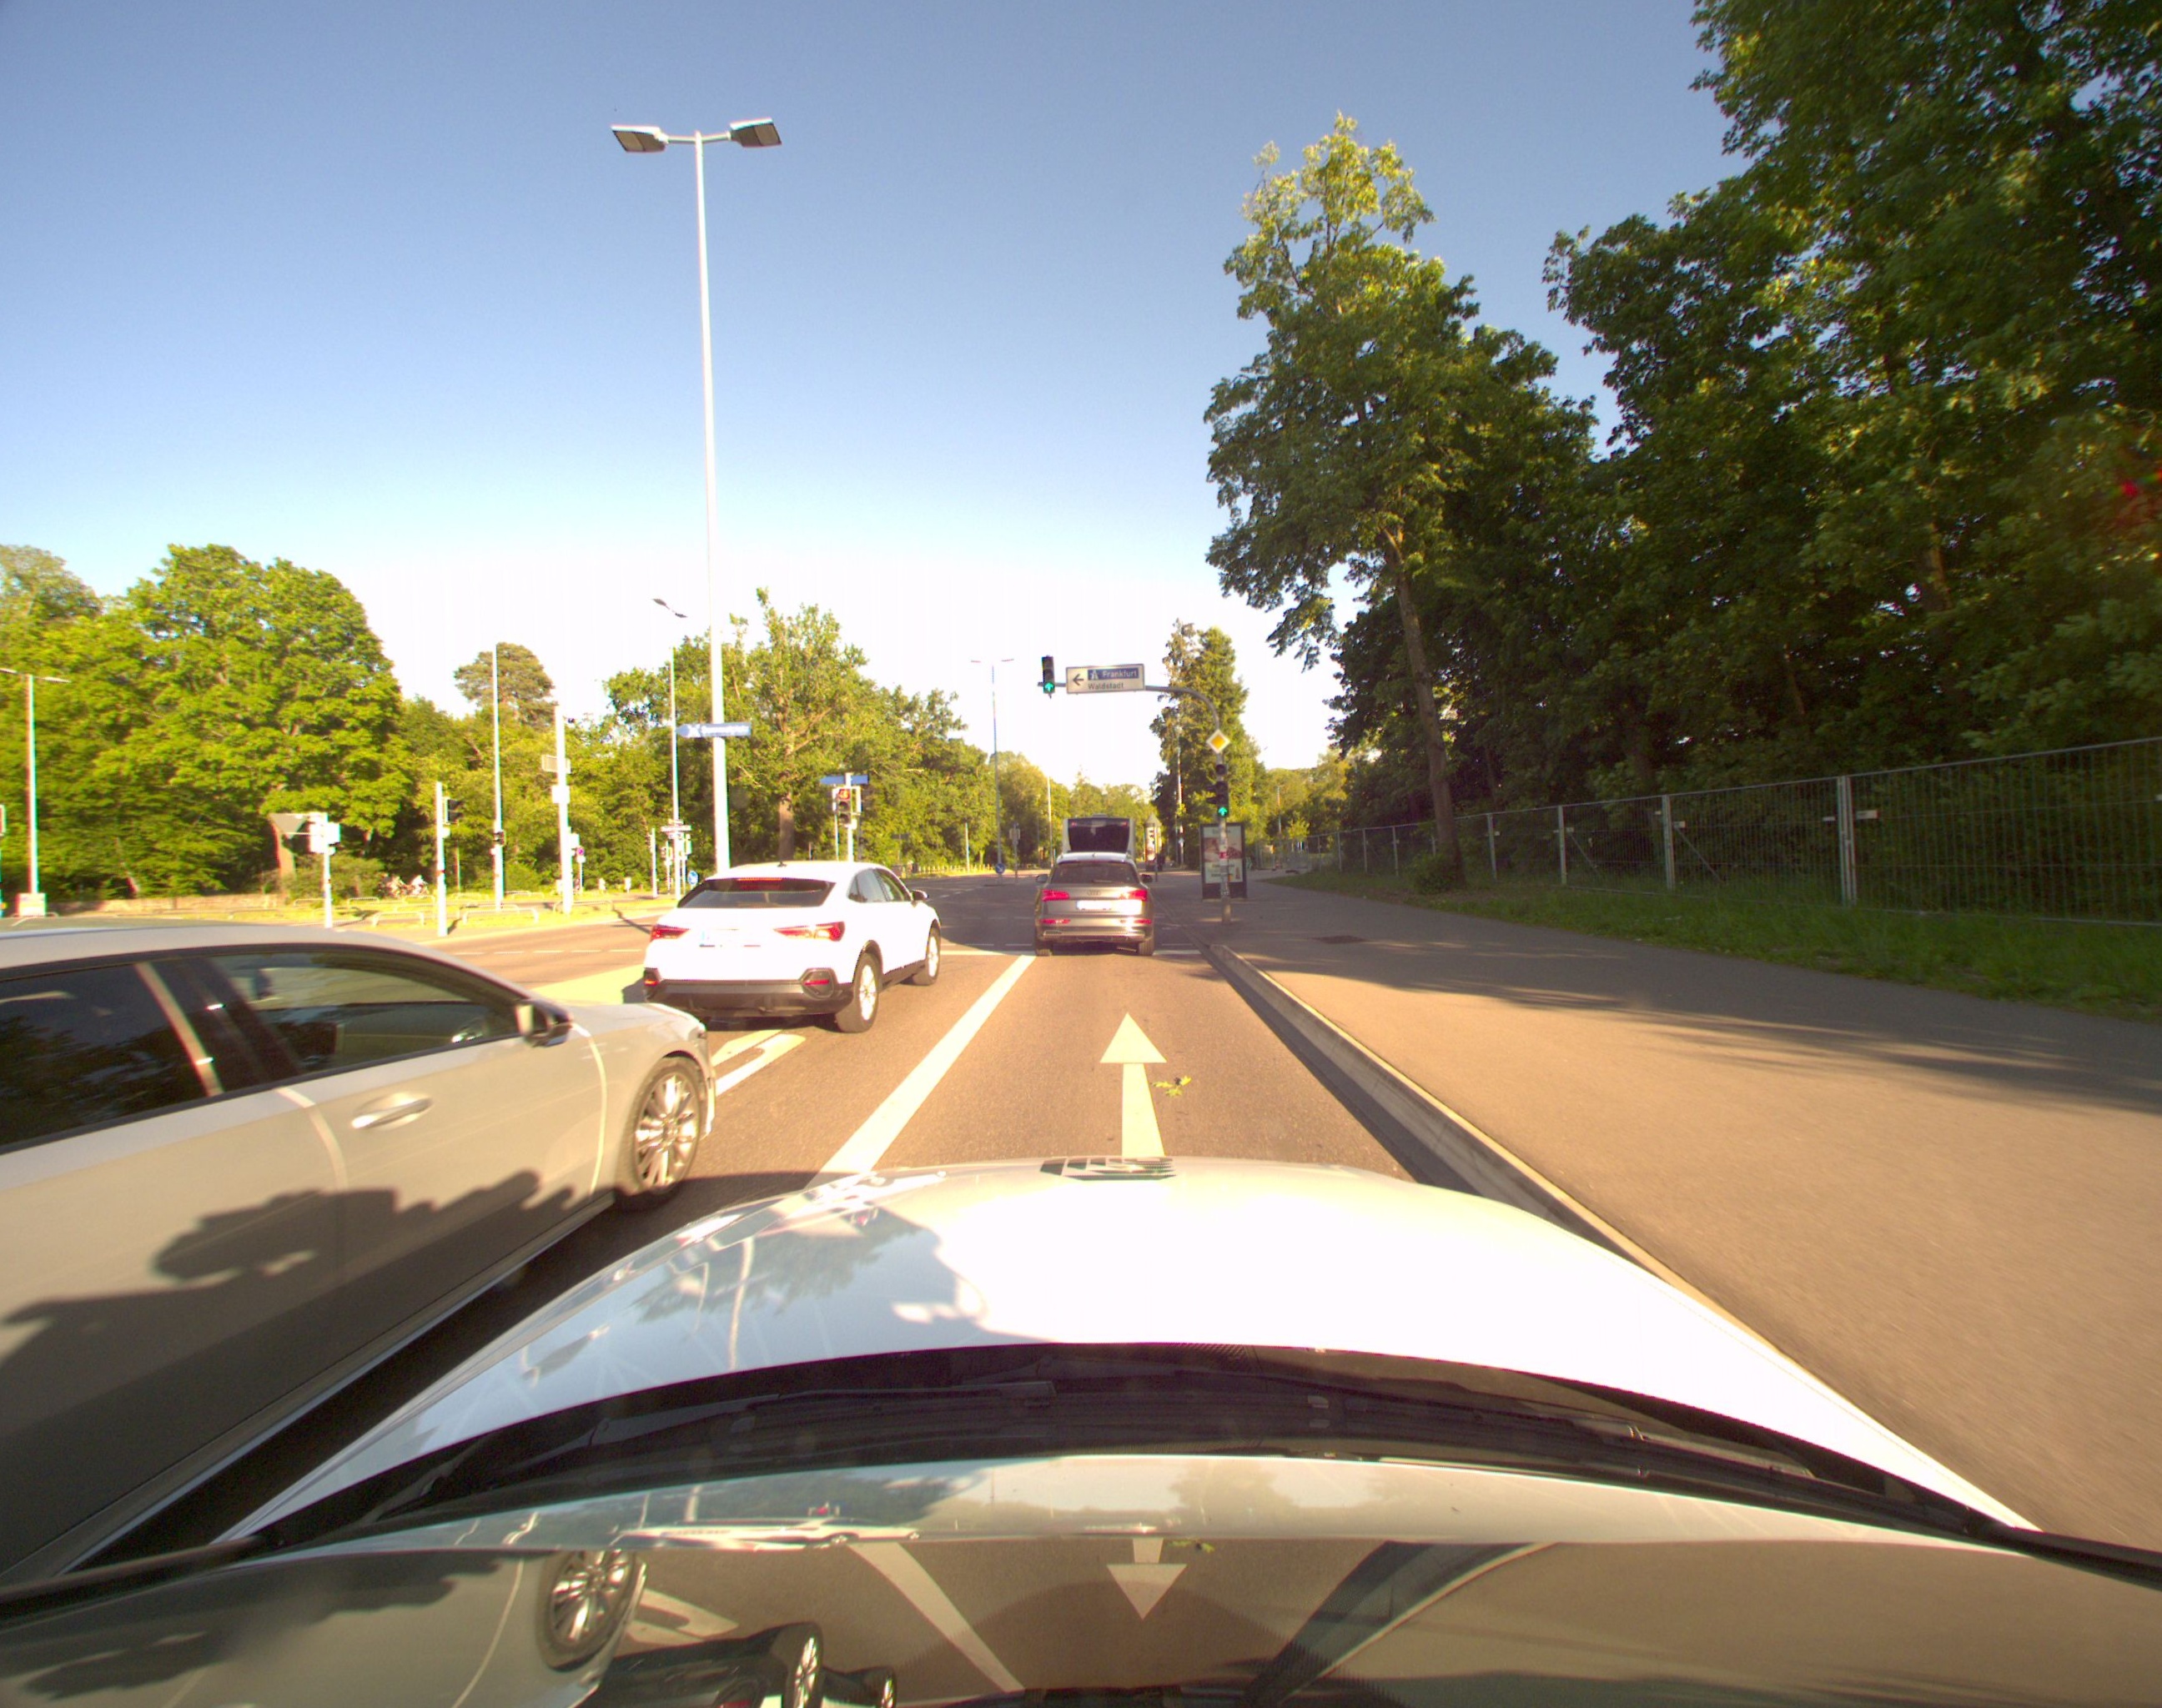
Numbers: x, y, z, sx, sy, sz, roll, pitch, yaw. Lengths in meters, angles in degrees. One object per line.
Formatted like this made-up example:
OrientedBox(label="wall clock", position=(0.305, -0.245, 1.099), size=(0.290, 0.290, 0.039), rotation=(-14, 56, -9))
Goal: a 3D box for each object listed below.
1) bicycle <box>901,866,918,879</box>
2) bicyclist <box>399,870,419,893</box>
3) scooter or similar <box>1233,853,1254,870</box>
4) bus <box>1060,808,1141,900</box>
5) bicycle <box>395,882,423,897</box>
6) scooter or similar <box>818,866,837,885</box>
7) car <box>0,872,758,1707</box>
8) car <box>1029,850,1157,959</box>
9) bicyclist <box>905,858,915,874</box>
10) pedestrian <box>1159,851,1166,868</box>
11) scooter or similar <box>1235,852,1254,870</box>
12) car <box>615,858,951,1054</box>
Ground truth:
OrientedBox(label="bicycle", position=(-17.242, 1.858, 81.739), size=(0.674, 1.154, 1.995), rotation=(-1, 1, 20))
OrientedBox(label="bicyclist", position=(-44.368, 1.831, 53.761), size=(0.790, 1.483, 0.734), rotation=(-1, -1, 23))
OrientedBox(label="scooter or similar", position=(12.376, 0.581, 62.043), size=(1.424, 1.167, 0.396), rotation=(-4, -2, 31))
OrientedBox(label="bus", position=(0.846, 0.042, 33.255), size=(2.679, 3.042, 12.045), rotation=(0, 0, 2))
OrientedBox(label="bicycle", position=(-44.310, 2.333, 53.734), size=(1.571, 0.977, 0.789), rotation=(-1, -1, 23))
OrientedBox(label="scooter or similar", position=(-15.884, 1.320, 51.018), size=(1.060, 1.146, 0.395), rotation=(-2, 0, 9))
OrientedBox(label="car", position=(-2.689, 0.824, 2.356), size=(1.651, 1.427, 4.320), rotation=(-1, 0, 2))
OrientedBox(label="car", position=(0.241, 0.753, 14.299), size=(1.886, 1.605, 4.546), rotation=(0, 0, 2))
OrientedBox(label="bicyclist", position=(-17.212, 1.164, 81.857), size=(0.557, 1.551, 0.804), rotation=(-1, 2, 20))
OrientedBox(label="pedestrian", position=(8.016, 0.557, 80.230), size=(0.622, 1.688, 0.885), rotation=(-1, -1, 12))
OrientedBox(label="scooter or similar", position=(11.723, 0.505, 58.519), size=(1.258, 1.147, 0.395), rotation=(-4, -2, 9))
OrientedBox(label="car", position=(-2.704, 0.814, 8.589), size=(1.827, 1.513, 4.302), rotation=(-1, 0, 2))
